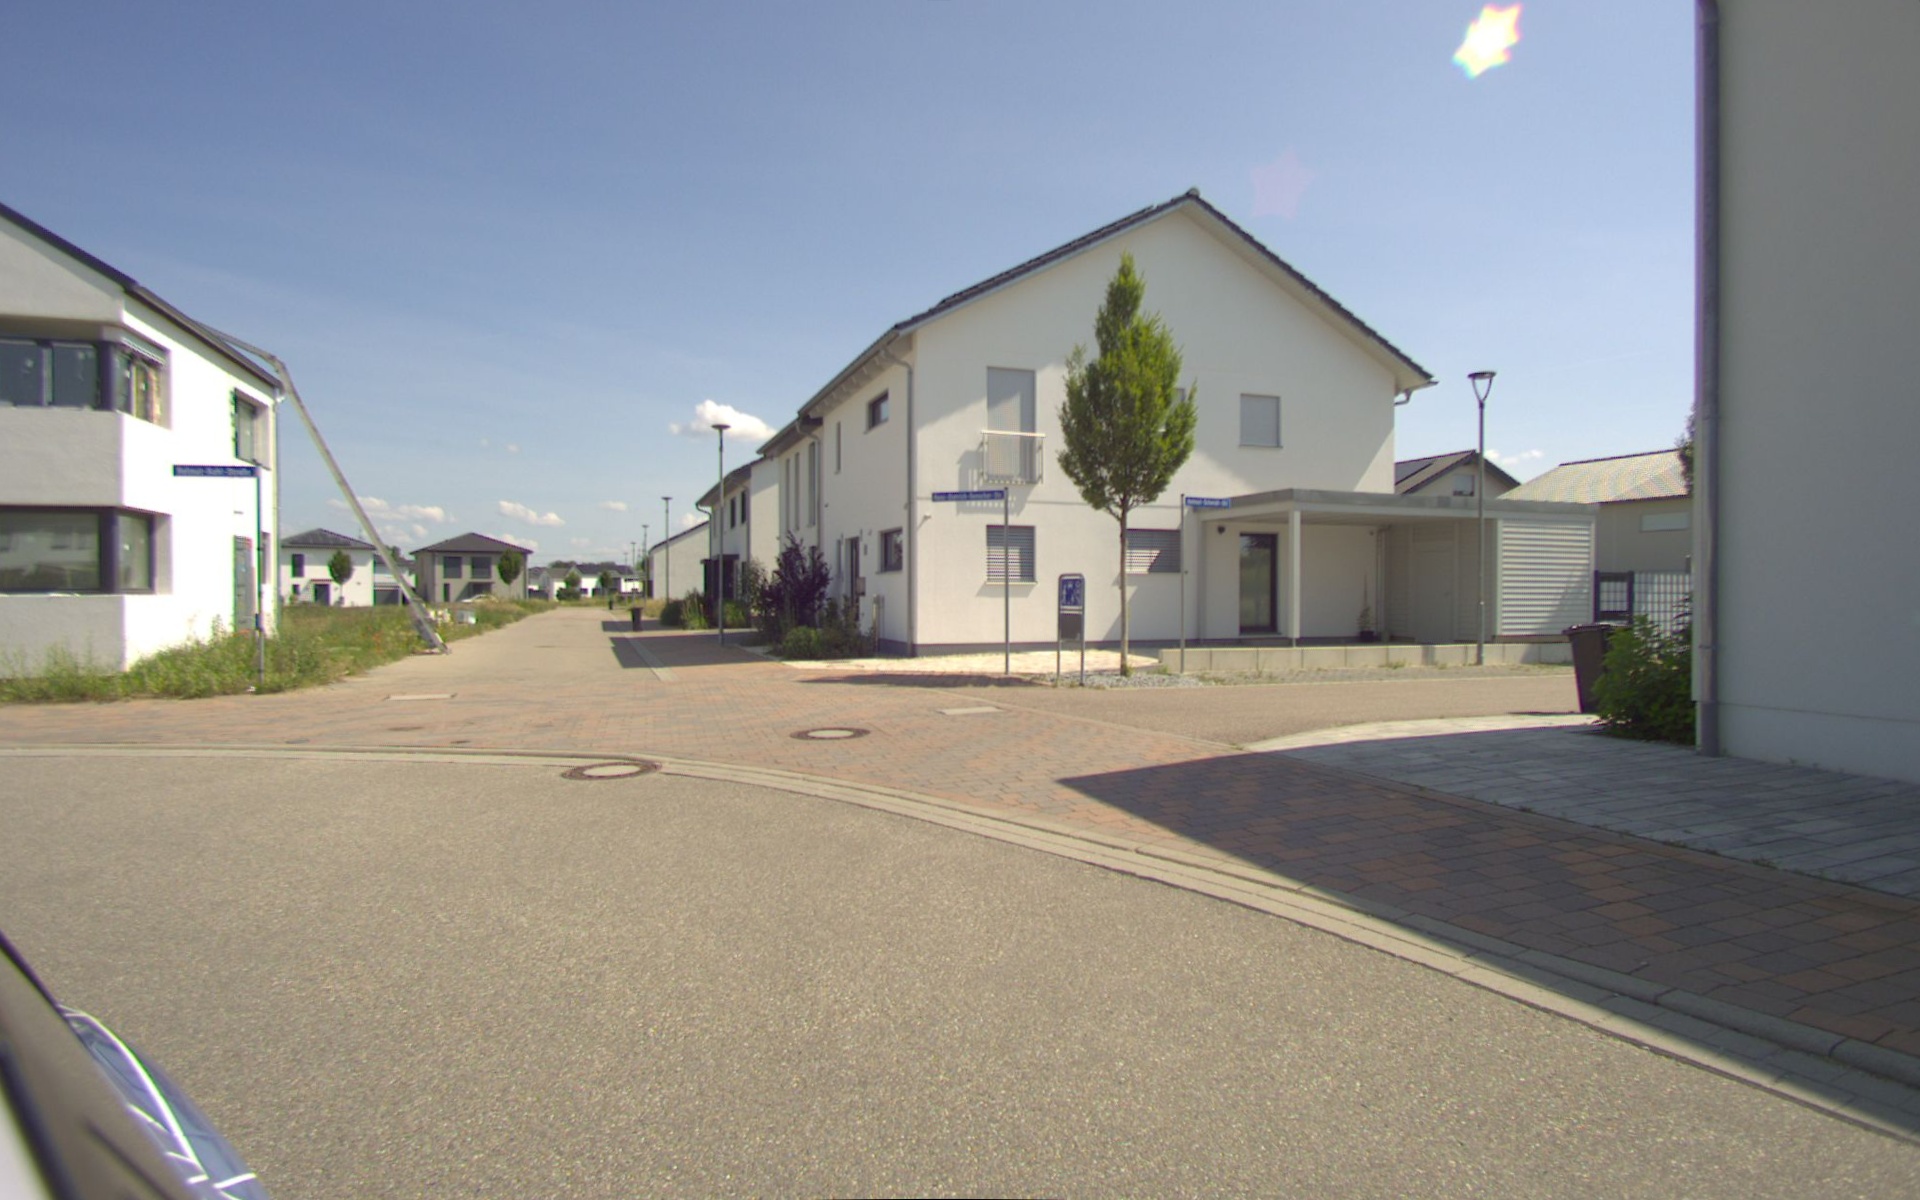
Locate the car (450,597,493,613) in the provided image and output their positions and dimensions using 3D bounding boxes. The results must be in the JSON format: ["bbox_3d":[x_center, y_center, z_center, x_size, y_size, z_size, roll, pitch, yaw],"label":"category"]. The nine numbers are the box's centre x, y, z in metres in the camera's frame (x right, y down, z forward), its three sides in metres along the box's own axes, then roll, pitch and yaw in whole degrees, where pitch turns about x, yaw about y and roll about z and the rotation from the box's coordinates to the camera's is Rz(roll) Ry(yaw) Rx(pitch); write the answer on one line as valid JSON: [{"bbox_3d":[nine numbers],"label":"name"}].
[{"bbox_3d":[-49.934,0.491,103.524,3.931,1.564,1.841,0,0,-28],"label":"car"}]

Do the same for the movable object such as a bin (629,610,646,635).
[{"bbox_3d":[-12.072,0.851,37.907,0.587,0.928,0.463,0,0,-19],"label":"movable object such as a bin"}]

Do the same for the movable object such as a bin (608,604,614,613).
[{"bbox_3d":[-36.276,0.934,105.189,0.587,0.928,0.463,0,0,-19],"label":"movable object such as a bin"}]

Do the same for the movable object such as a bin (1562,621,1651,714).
[{"bbox_3d":[6.894,0.705,10.805,0.492,0.956,0.603,0,-1,-21],"label":"movable object such as a bin"}]

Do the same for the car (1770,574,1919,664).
[{"bbox_3d":[20.334,0.378,22.088,4.566,1.803,2.007,1,1,-20],"label":"car"}]
